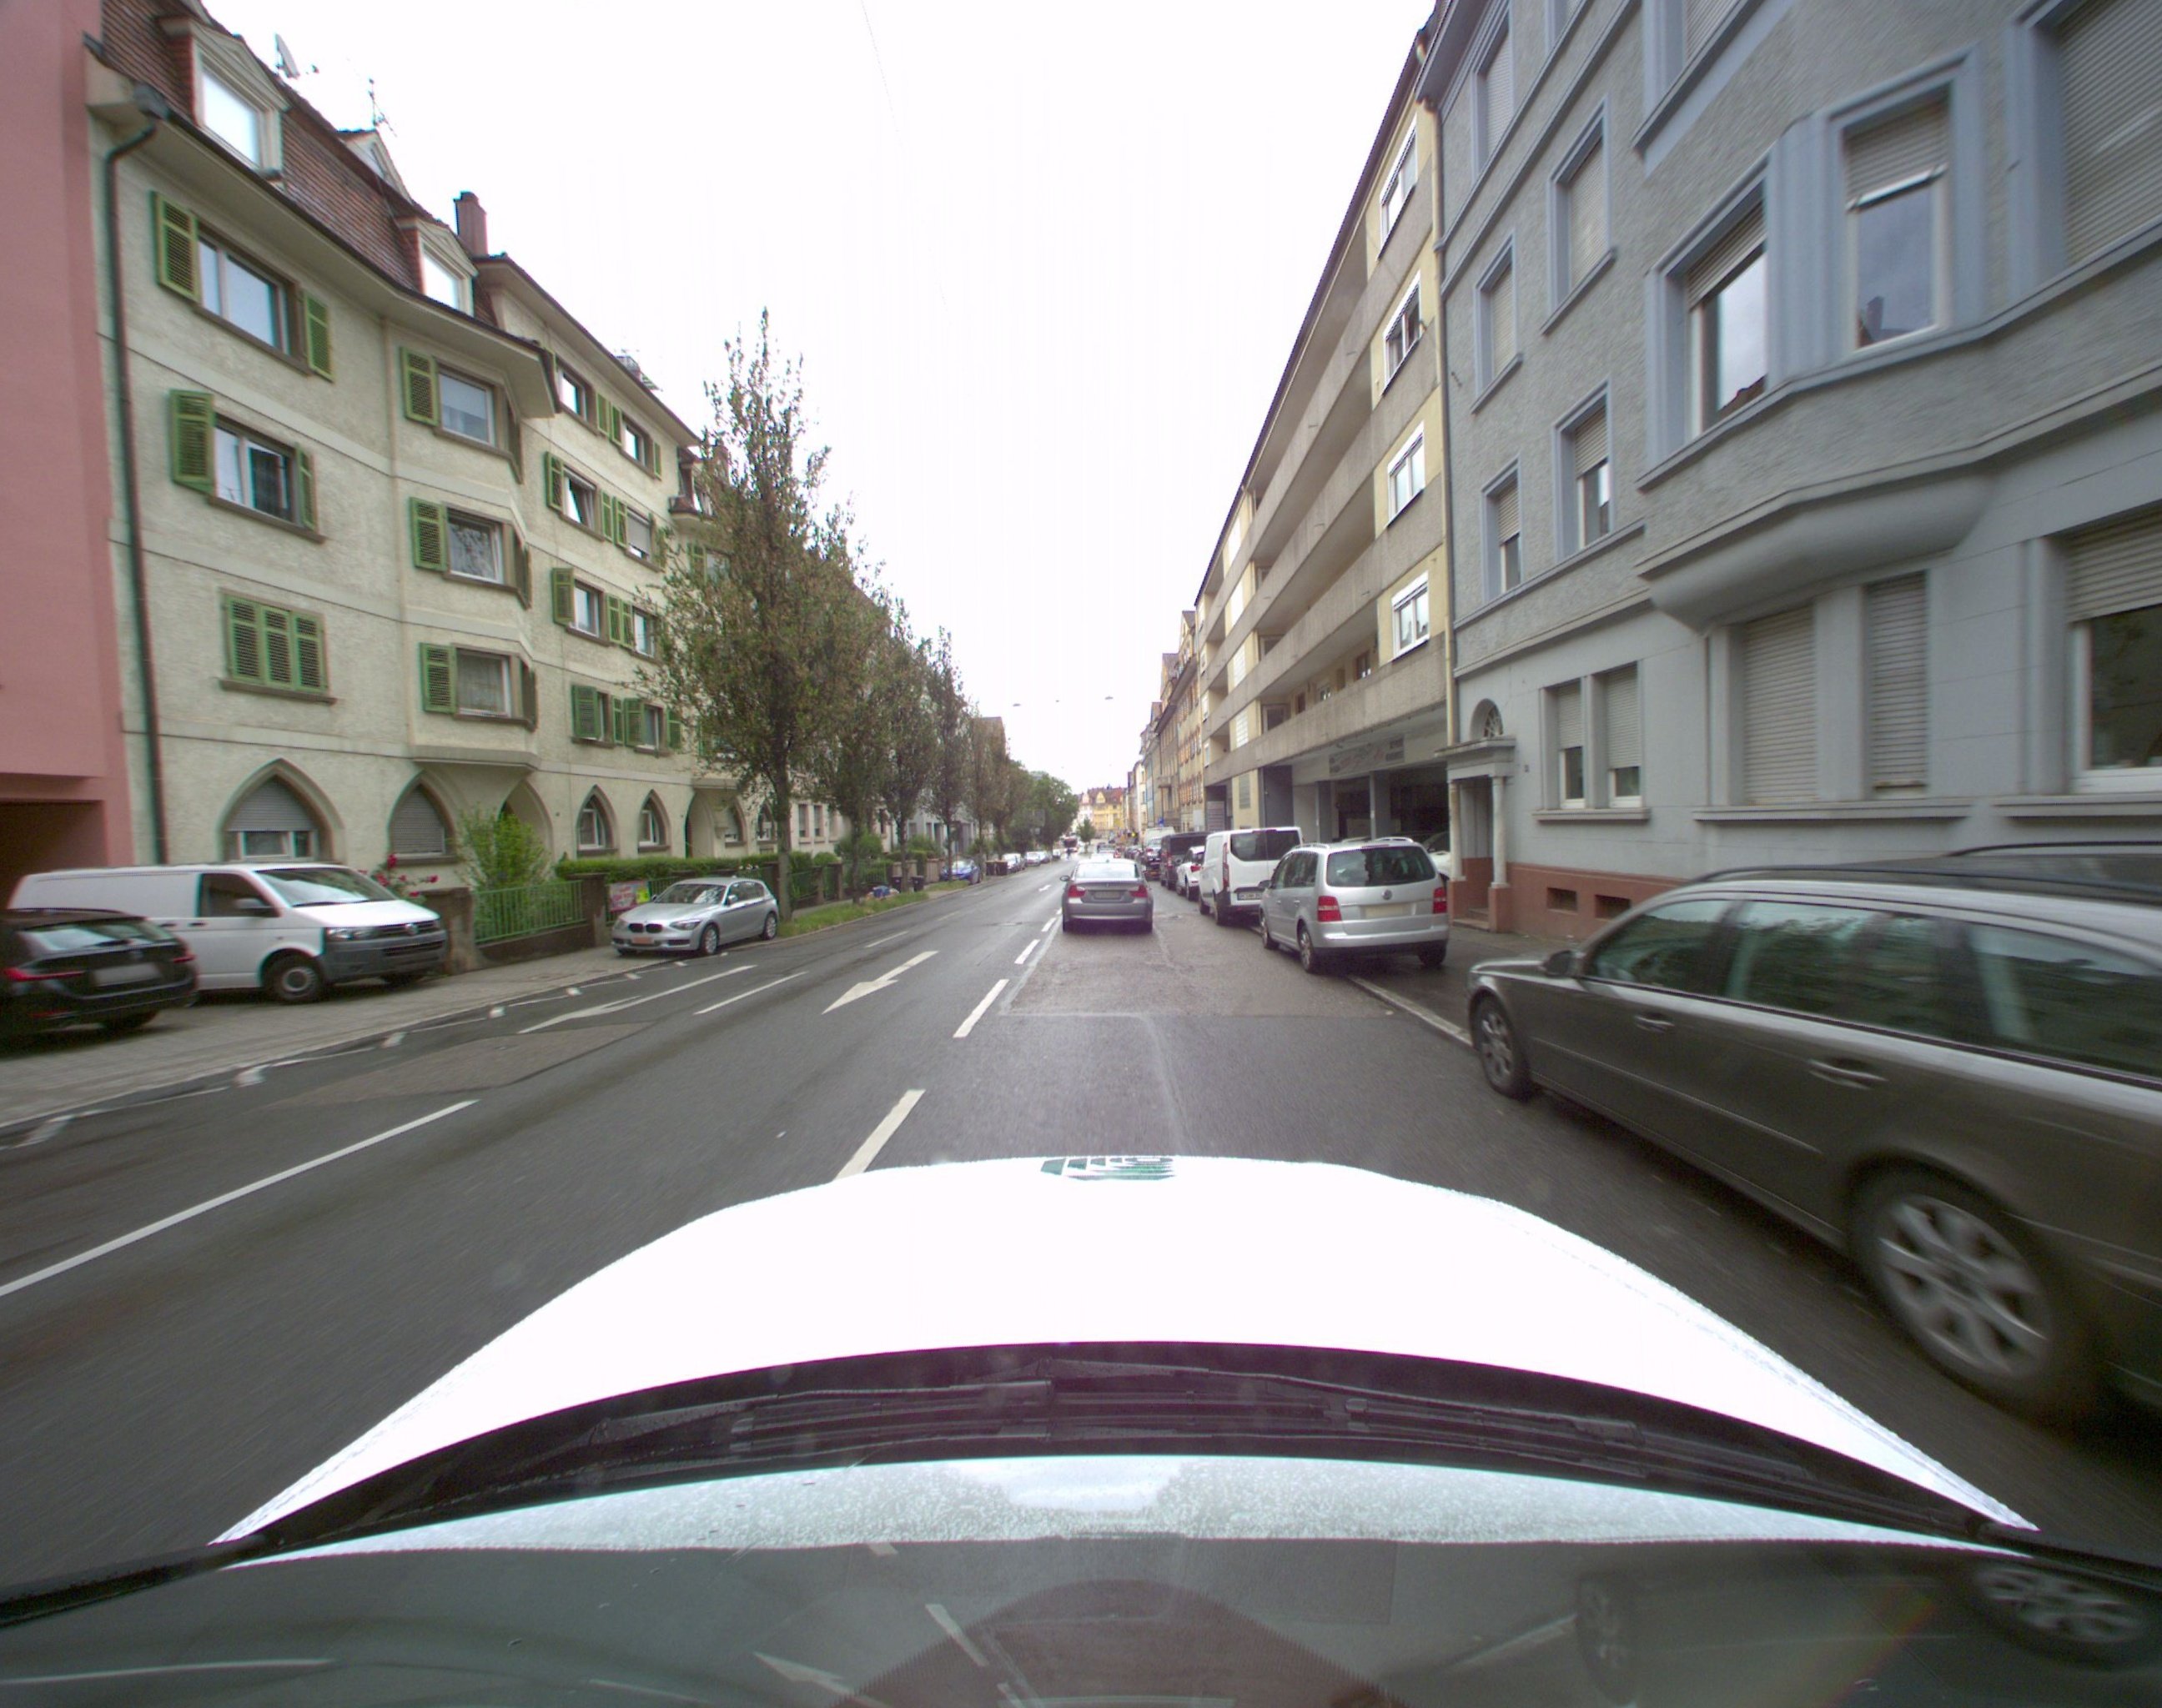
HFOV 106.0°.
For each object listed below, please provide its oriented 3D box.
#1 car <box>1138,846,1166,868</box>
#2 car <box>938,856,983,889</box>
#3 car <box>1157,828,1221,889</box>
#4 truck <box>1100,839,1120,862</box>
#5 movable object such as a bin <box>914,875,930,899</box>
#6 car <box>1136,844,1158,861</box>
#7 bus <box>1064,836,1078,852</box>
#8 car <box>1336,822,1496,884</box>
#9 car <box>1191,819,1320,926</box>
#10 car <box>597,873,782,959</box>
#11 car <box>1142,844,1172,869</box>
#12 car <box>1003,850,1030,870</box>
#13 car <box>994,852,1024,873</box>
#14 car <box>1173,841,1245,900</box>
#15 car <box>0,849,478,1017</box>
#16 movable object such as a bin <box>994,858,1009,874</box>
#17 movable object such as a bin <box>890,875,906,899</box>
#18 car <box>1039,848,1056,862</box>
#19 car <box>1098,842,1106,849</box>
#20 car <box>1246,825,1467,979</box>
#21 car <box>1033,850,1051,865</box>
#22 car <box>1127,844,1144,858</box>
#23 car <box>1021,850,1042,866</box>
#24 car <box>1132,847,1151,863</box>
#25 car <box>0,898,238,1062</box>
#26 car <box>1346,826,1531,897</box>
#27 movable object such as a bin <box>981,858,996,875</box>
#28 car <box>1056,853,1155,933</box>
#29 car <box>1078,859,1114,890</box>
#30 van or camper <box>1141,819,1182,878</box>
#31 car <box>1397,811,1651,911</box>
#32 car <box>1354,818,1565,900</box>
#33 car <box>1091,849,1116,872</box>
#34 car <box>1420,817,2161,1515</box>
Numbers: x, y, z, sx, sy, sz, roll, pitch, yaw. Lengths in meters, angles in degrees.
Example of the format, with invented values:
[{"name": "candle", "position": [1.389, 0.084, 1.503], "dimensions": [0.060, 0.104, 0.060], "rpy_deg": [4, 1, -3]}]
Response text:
[{"name": "car", "position": [4.968, 0.238, 57.456], "dimensions": [1.691, 1.483, 3.976], "rpy_deg": [-1, 0, 1]}, {"name": "car", "position": [-6.667, 0.982, 45.454], "dimensions": [1.761, 1.593, 4.000], "rpy_deg": [-4, 0, 1]}, {"name": "car", "position": [4.299, 0.160, 33.144], "dimensions": [1.974, 2.165, 4.752], "rpy_deg": [-3, 0, 2]}, {"name": "truck", "position": [3.182, -0.345, 90.208], "dimensions": [2.025, 2.412, 4.828], "rpy_deg": [-1, 0, 1]}, {"name": "movable object such as a bin", "position": [-6.457, 1.336, 33.102], "dimensions": [0.575, 0.912, 0.637], "rpy_deg": [-3, 0, -13]}, {"name": "car", "position": [5.951, -0.168, 73.806], "dimensions": [1.691, 1.483, 3.976], "rpy_deg": [-1, 0, 1]}, {"name": "bus", "position": [-2.089, -2.120, 174.552], "dimensions": [2.658, 3.024, 7.673], "rpy_deg": [-3, 0, 2]}, {"name": "car", "position": [10.024, -0.036, 24.679], "dimensions": [4.256, 1.640, 1.673], "rpy_deg": [-2, 2, 14]}, {"name": "car", "position": [3.780, 0.355, 18.495], "dimensions": [1.974, 2.007, 4.627], "rpy_deg": [-3, 0, 2]}, {"name": "car", "position": [-7.858, 1.170, 16.798], "dimensions": [1.719, 1.484, 3.991], "rpy_deg": [0, 0, 3]}, {"name": "car", "position": [4.866, 0.158, 52.558], "dimensions": [1.691, 1.483, 3.794], "rpy_deg": [-1, 0, 1]}, {"name": "car", "position": [-5.687, 0.507, 72.372], "dimensions": [1.820, 1.523, 3.739], "rpy_deg": [-4, 0, 3]}, {"name": "car", "position": [-5.898, 0.668, 66.842], "dimensions": [1.820, 1.523, 3.739], "rpy_deg": [-4, 0, 3]}, {"name": "car", "position": [4.062, 0.486, 26.474], "dimensions": [1.719, 1.670, 4.290], "rpy_deg": [-3, 0, 2]}, {"name": "car", "position": [-11.869, 1.034, 11.691], "dimensions": [4.811, 1.974, 2.049], "rpy_deg": [-3, 0, 1]}, {"name": "movable object such as a bin", "position": [-5.799, 0.876, 59.277], "dimensions": [0.931, 1.168, 0.910], "rpy_deg": [-2, 0, 1]}, {"name": "movable object such as a bin", "position": [-7.399, 1.344, 33.017], "dimensions": [0.575, 0.912, 0.637], "rpy_deg": [-3, 0, -13]}, {"name": "car", "position": [-4.155, 0.130, 100.720], "dimensions": [1.684, 1.523, 3.739], "rpy_deg": [-4, 0, 3]}, {"name": "car", "position": [4.496, -1.795, 173.994], "dimensions": [1.691, 1.483, 3.794], "rpy_deg": [-4, 0, 1]}, {"name": "car", "position": [3.644, 0.545, 11.639], "dimensions": [1.719, 1.670, 4.290], "rpy_deg": [-4, 0, 2]}, {"name": "car", "position": [-4.518, 0.387, 94.562], "dimensions": [1.684, 1.523, 3.739], "rpy_deg": [-4, 0, 3]}, {"name": "car", "position": [6.141, -0.298, 91.553], "dimensions": [1.691, 1.483, 3.976], "rpy_deg": [-1, 0, 1]}, {"name": "car", "position": [-5.271, 0.403, 87.241], "dimensions": [1.684, 1.523, 3.739], "rpy_deg": [-4, 0, 3]}, {"name": "car", "position": [6.020, 0.104, 81.578], "dimensions": [1.691, 1.483, 3.976], "rpy_deg": [-1, 0, 1]}, {"name": "car", "position": [-12.230, 1.370, 8.704], "dimensions": [4.419, 1.451, 1.791], "rpy_deg": [-3, 0, -1]}, {"name": "car", "position": [9.389, 0.185, 21.700], "dimensions": [4.256, 1.640, 1.673], "rpy_deg": [-2, 2, 14]}, {"name": "movable object such as a bin", "position": [-6.741, 0.895, 59.309], "dimensions": [0.898, 1.168, 0.895], "rpy_deg": [-2, 0, 1]}, {"name": "car", "position": [0.534, 0.711, 16.589], "dimensions": [1.762, 1.428, 3.744], "rpy_deg": [-1, 0, 3]}, {"name": "car", "position": [0.807, 1.000, 41.157], "dimensions": [1.675, 1.428, 3.744], "rpy_deg": [-1, 0, 3]}, {"name": "van or camper", "position": [4.306, -0.295, 43.683], "dimensions": [2.023, 2.868, 6.895], "rpy_deg": [1, 1, 5]}, {"name": "car", "position": [8.887, 0.134, 16.806], "dimensions": [4.290, 1.804, 2.017], "rpy_deg": [-2, 2, 19]}, {"name": "car", "position": [8.914, 0.096, 19.567], "dimensions": [4.294, 1.726, 1.917], "rpy_deg": [-2, 2, 14]}, {"name": "car", "position": [1.528, 0.447, 55.922], "dimensions": [1.691, 1.483, 3.794], "rpy_deg": [-1, 0, 1]}, {"name": "car", "position": [3.422, 0.670, 3.657], "dimensions": [1.892, 1.478, 4.802], "rpy_deg": [-5, 0, 3]}]
